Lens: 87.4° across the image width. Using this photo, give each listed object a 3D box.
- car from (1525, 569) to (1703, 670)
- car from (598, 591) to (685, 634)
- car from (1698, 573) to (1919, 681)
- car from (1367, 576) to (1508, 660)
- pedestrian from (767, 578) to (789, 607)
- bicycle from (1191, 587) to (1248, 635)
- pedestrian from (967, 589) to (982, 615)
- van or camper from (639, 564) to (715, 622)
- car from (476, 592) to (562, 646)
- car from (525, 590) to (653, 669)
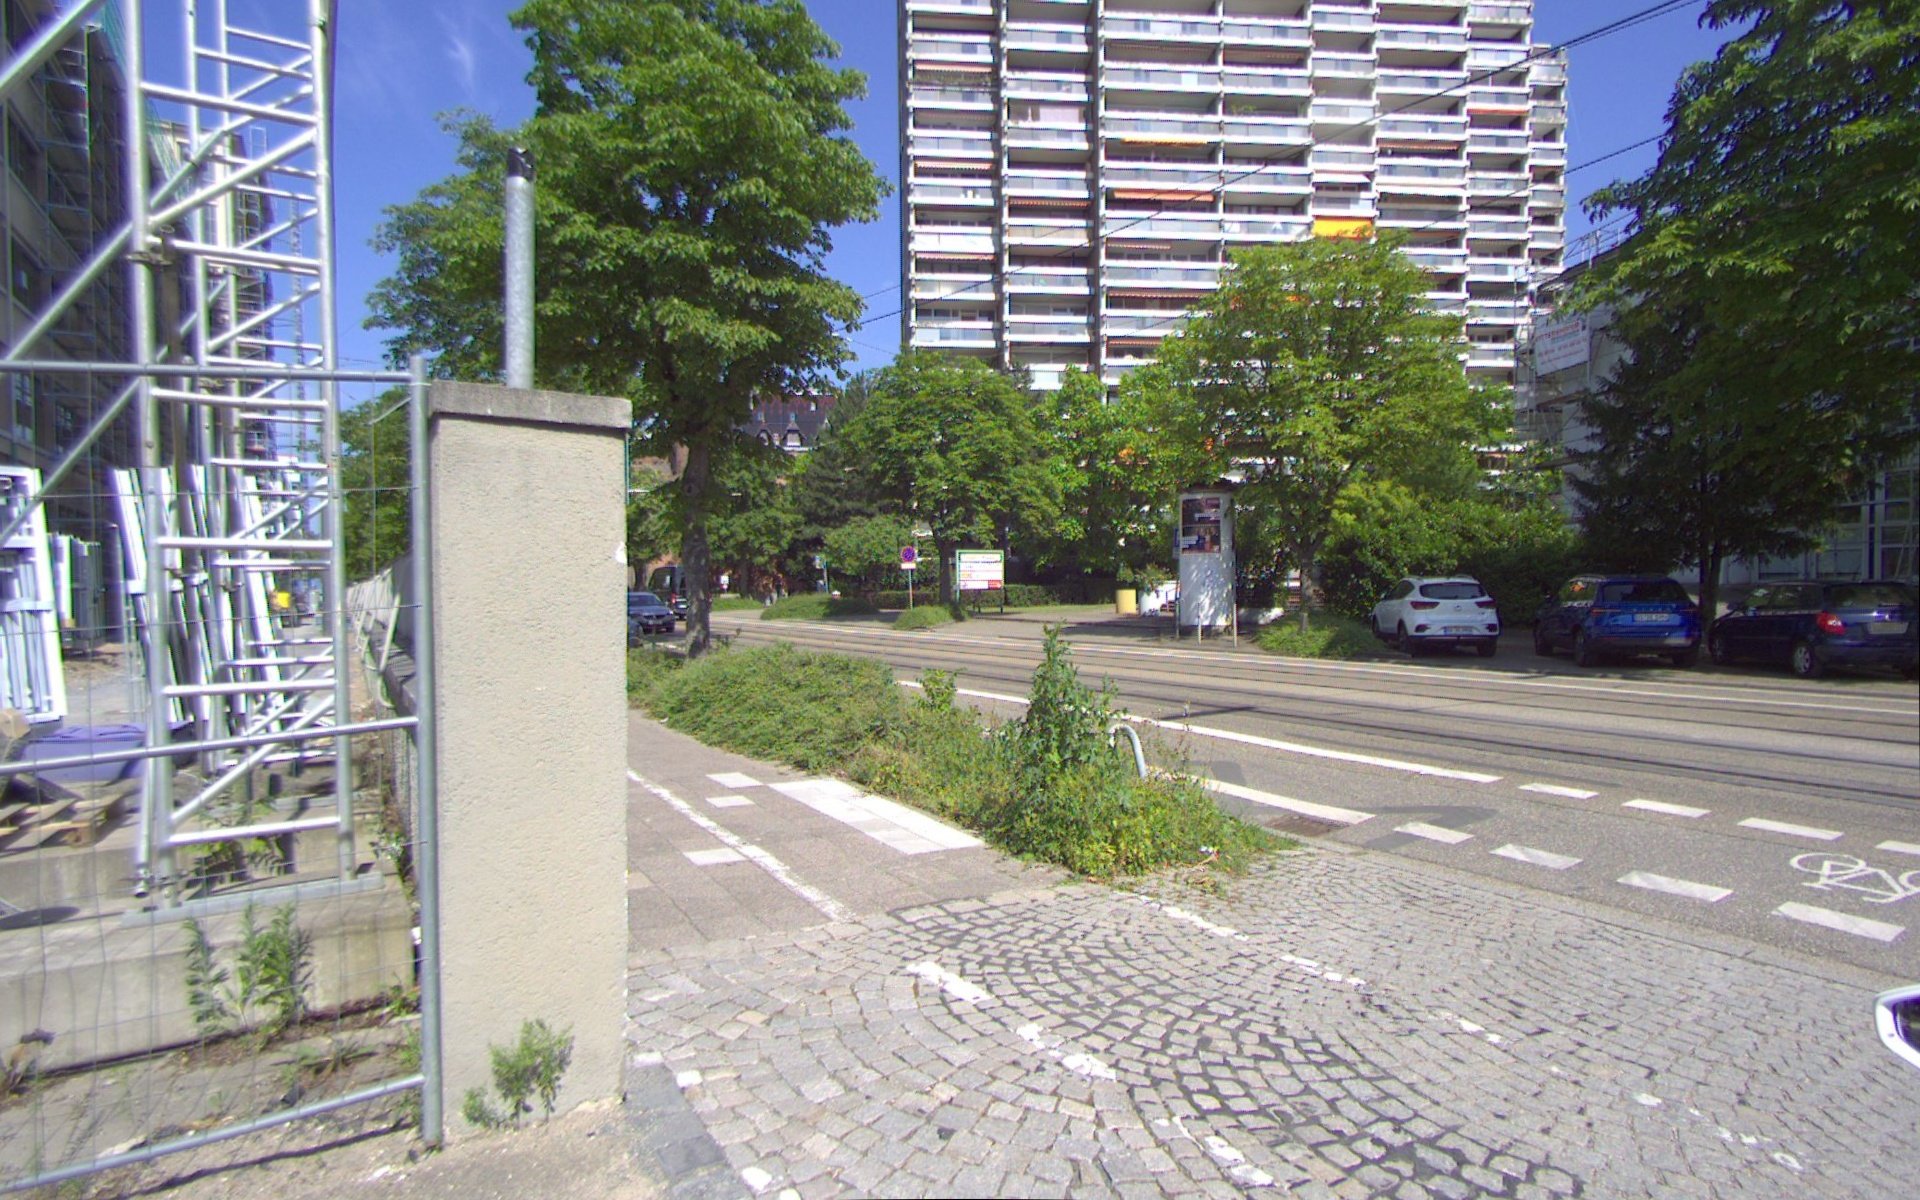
[{"bbox_3d":[12.079,0.290,18.835,1.745,1.644,3.945,-1,2,17],"label":"car"},{"bbox_3d":[-11.720,0.417,36.784,1.872,1.427,4.552,-2,2,-33],"label":"car"},{"bbox_3d":[13.678,0.366,16.231,1.544,1.551,3.460,0,1,12],"label":"car"},{"bbox_3d":[10.136,0.323,21.644,1.783,1.628,3.947,0,1,10],"label":"car"},{"bbox_3d":[-11.929,-0.488,65.958,1.048,1.822,1.254,1,1,-31],"label":"pedestrian"},{"bbox_3d":[7.479,0.299,28.999,0.542,1.326,1.604,-1,1,-37],"label":"bicycle"},{"bbox_3d":[0.657,0.087,44.596,0.525,1.170,0.700,-1,1,-10],"label":"pedestrian"},{"bbox_3d":[-13.868,-0.361,49.007,2.028,2.655,5.810,-1,1,-32],"label":"van or camper"},{"bbox_3d":[-13.232,0.514,30.032,1.801,1.473,3.965,-1,1,-32],"label":"car"},{"bbox_3d":[-8.122,0.564,21.771,1.801,1.514,4.071,-1,1,-32],"label":"car"}]
